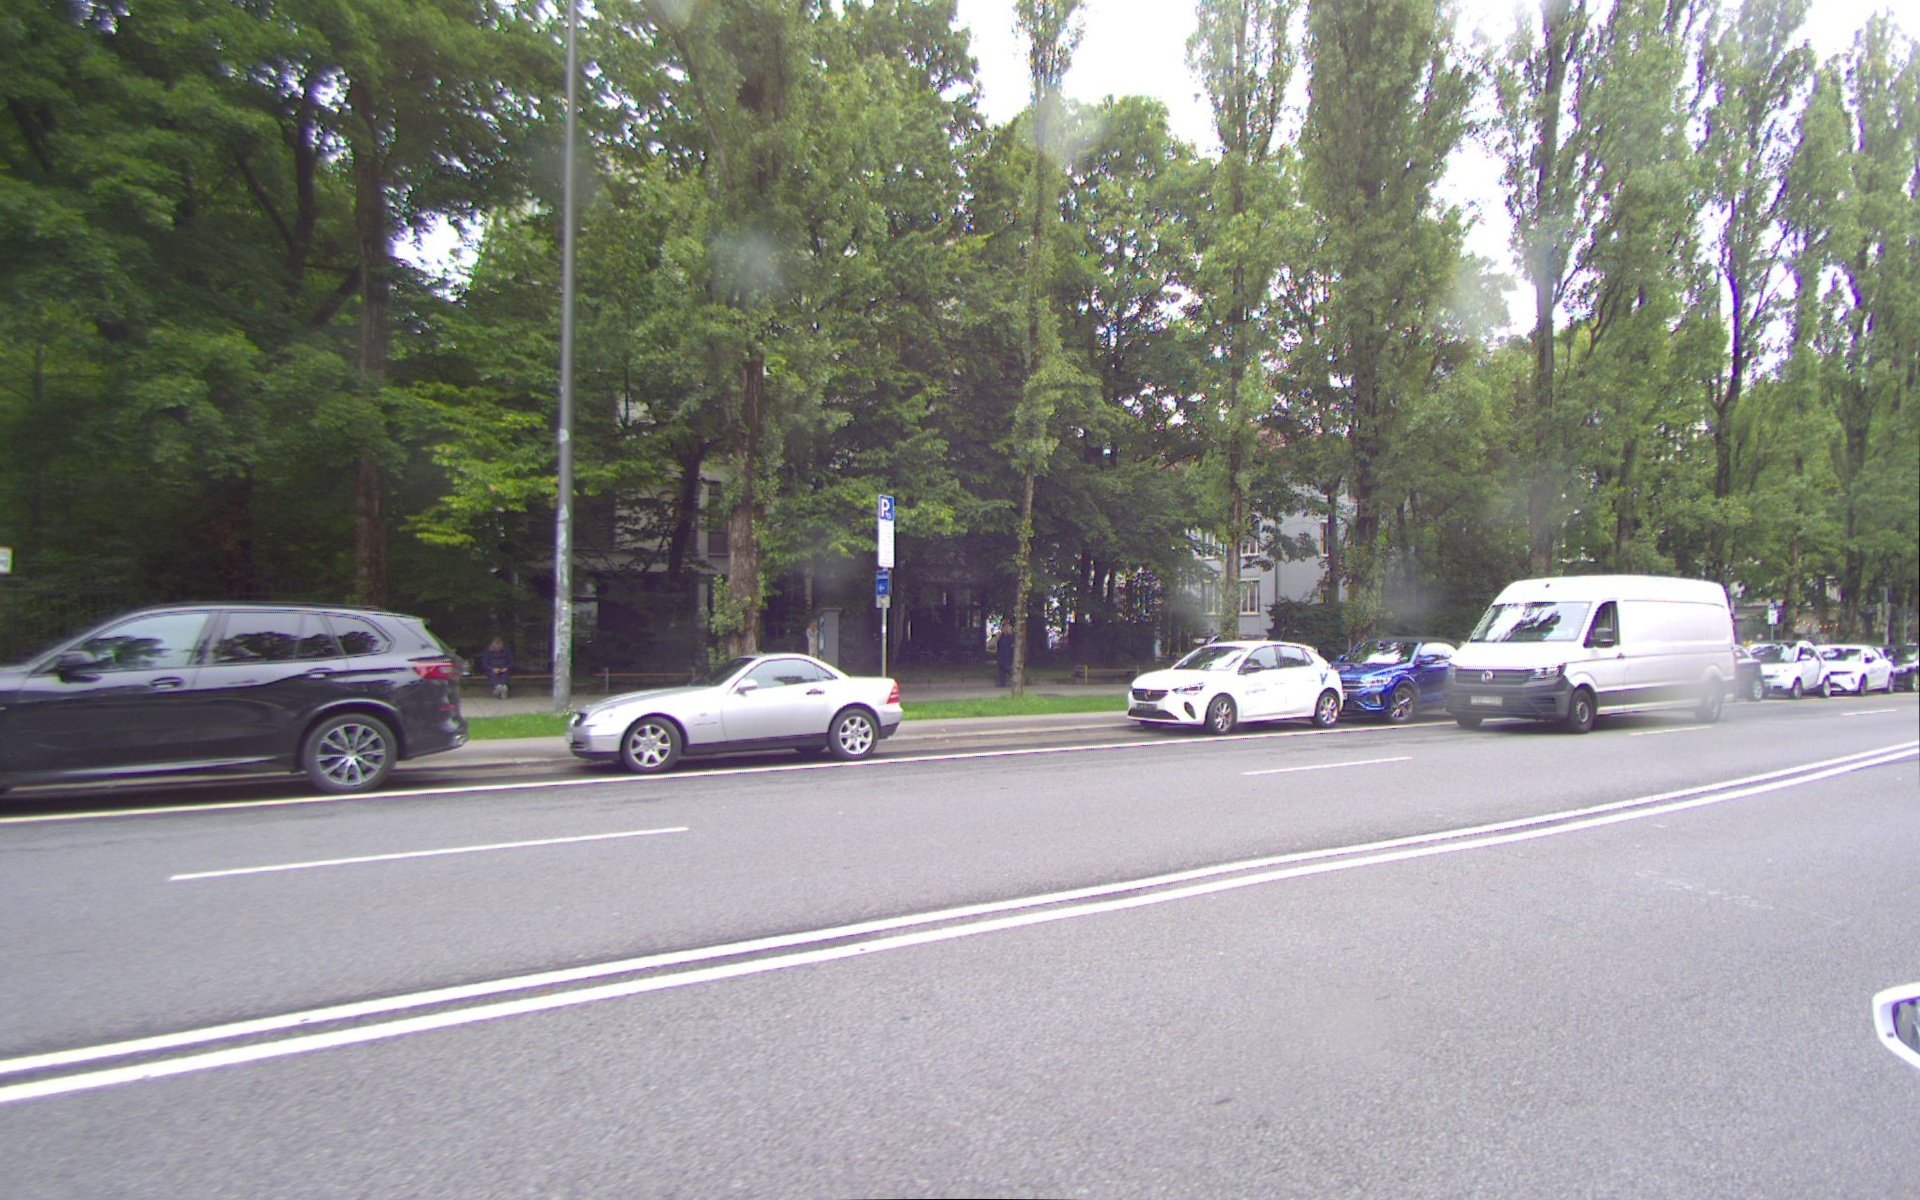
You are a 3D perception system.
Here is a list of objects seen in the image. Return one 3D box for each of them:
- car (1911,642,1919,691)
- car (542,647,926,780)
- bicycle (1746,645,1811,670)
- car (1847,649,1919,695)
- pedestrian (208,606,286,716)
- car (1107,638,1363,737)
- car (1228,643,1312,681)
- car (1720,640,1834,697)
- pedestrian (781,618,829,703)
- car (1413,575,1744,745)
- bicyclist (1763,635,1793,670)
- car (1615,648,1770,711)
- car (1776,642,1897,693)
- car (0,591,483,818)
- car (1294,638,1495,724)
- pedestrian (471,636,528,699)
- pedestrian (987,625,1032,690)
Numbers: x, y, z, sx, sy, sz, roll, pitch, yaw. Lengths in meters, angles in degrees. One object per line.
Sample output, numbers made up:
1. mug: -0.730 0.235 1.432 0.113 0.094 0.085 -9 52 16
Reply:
1. car: 35.473 2.303 35.352 4.645 1.675 1.839 2 -4 -33
2. car: -2.676 1.269 12.140 4.185 1.351 1.818 1 -4 -31
3. bicycle: 41.854 2.931 51.400 0.800 1.254 2.532 1 -2 -20
4. car: 30.400 2.287 32.379 4.122 1.407 1.615 2 -4 -33
5. pedestrian: -11.779 0.995 16.629 0.945 1.764 0.663 1 -2 -30
6. car: 4.641 1.411 16.807 4.186 1.471 1.762 2 -4 -32
7. car: 15.843 3.129 51.301 3.952 1.795 1.985 1 -2 -30
8. car: 22.180 1.863 27.271 2.932 1.466 1.421 1 -5 -31
9. pedestrian: -3.164 1.229 20.457 0.742 1.686 0.735 1 -2 -29
10. car: 11.002 1.022 17.654 6.684 2.515 2.216 2 -4 -33
11. bicyclist: 41.841 2.672 51.390 0.812 1.745 0.904 1 -2 -20
12. car: 18.113 1.940 24.807 3.804 1.444 1.595 1 -4 -29
13. car: 25.779 1.956 29.512 4.123 1.407 1.614 2 -4 -34
14. car: -7.205 0.911 9.318 4.841 1.790 1.931 2 -4 -32
15. car: 8.157 1.479 18.817 3.546 1.470 1.701 2 -5 -32
16. pedestrian: -9.112 1.319 19.865 0.912 1.194 0.963 2 -1 -30
17. pedestrian: 1.274 1.476 26.004 0.870 1.620 0.733 2 -1 -29
